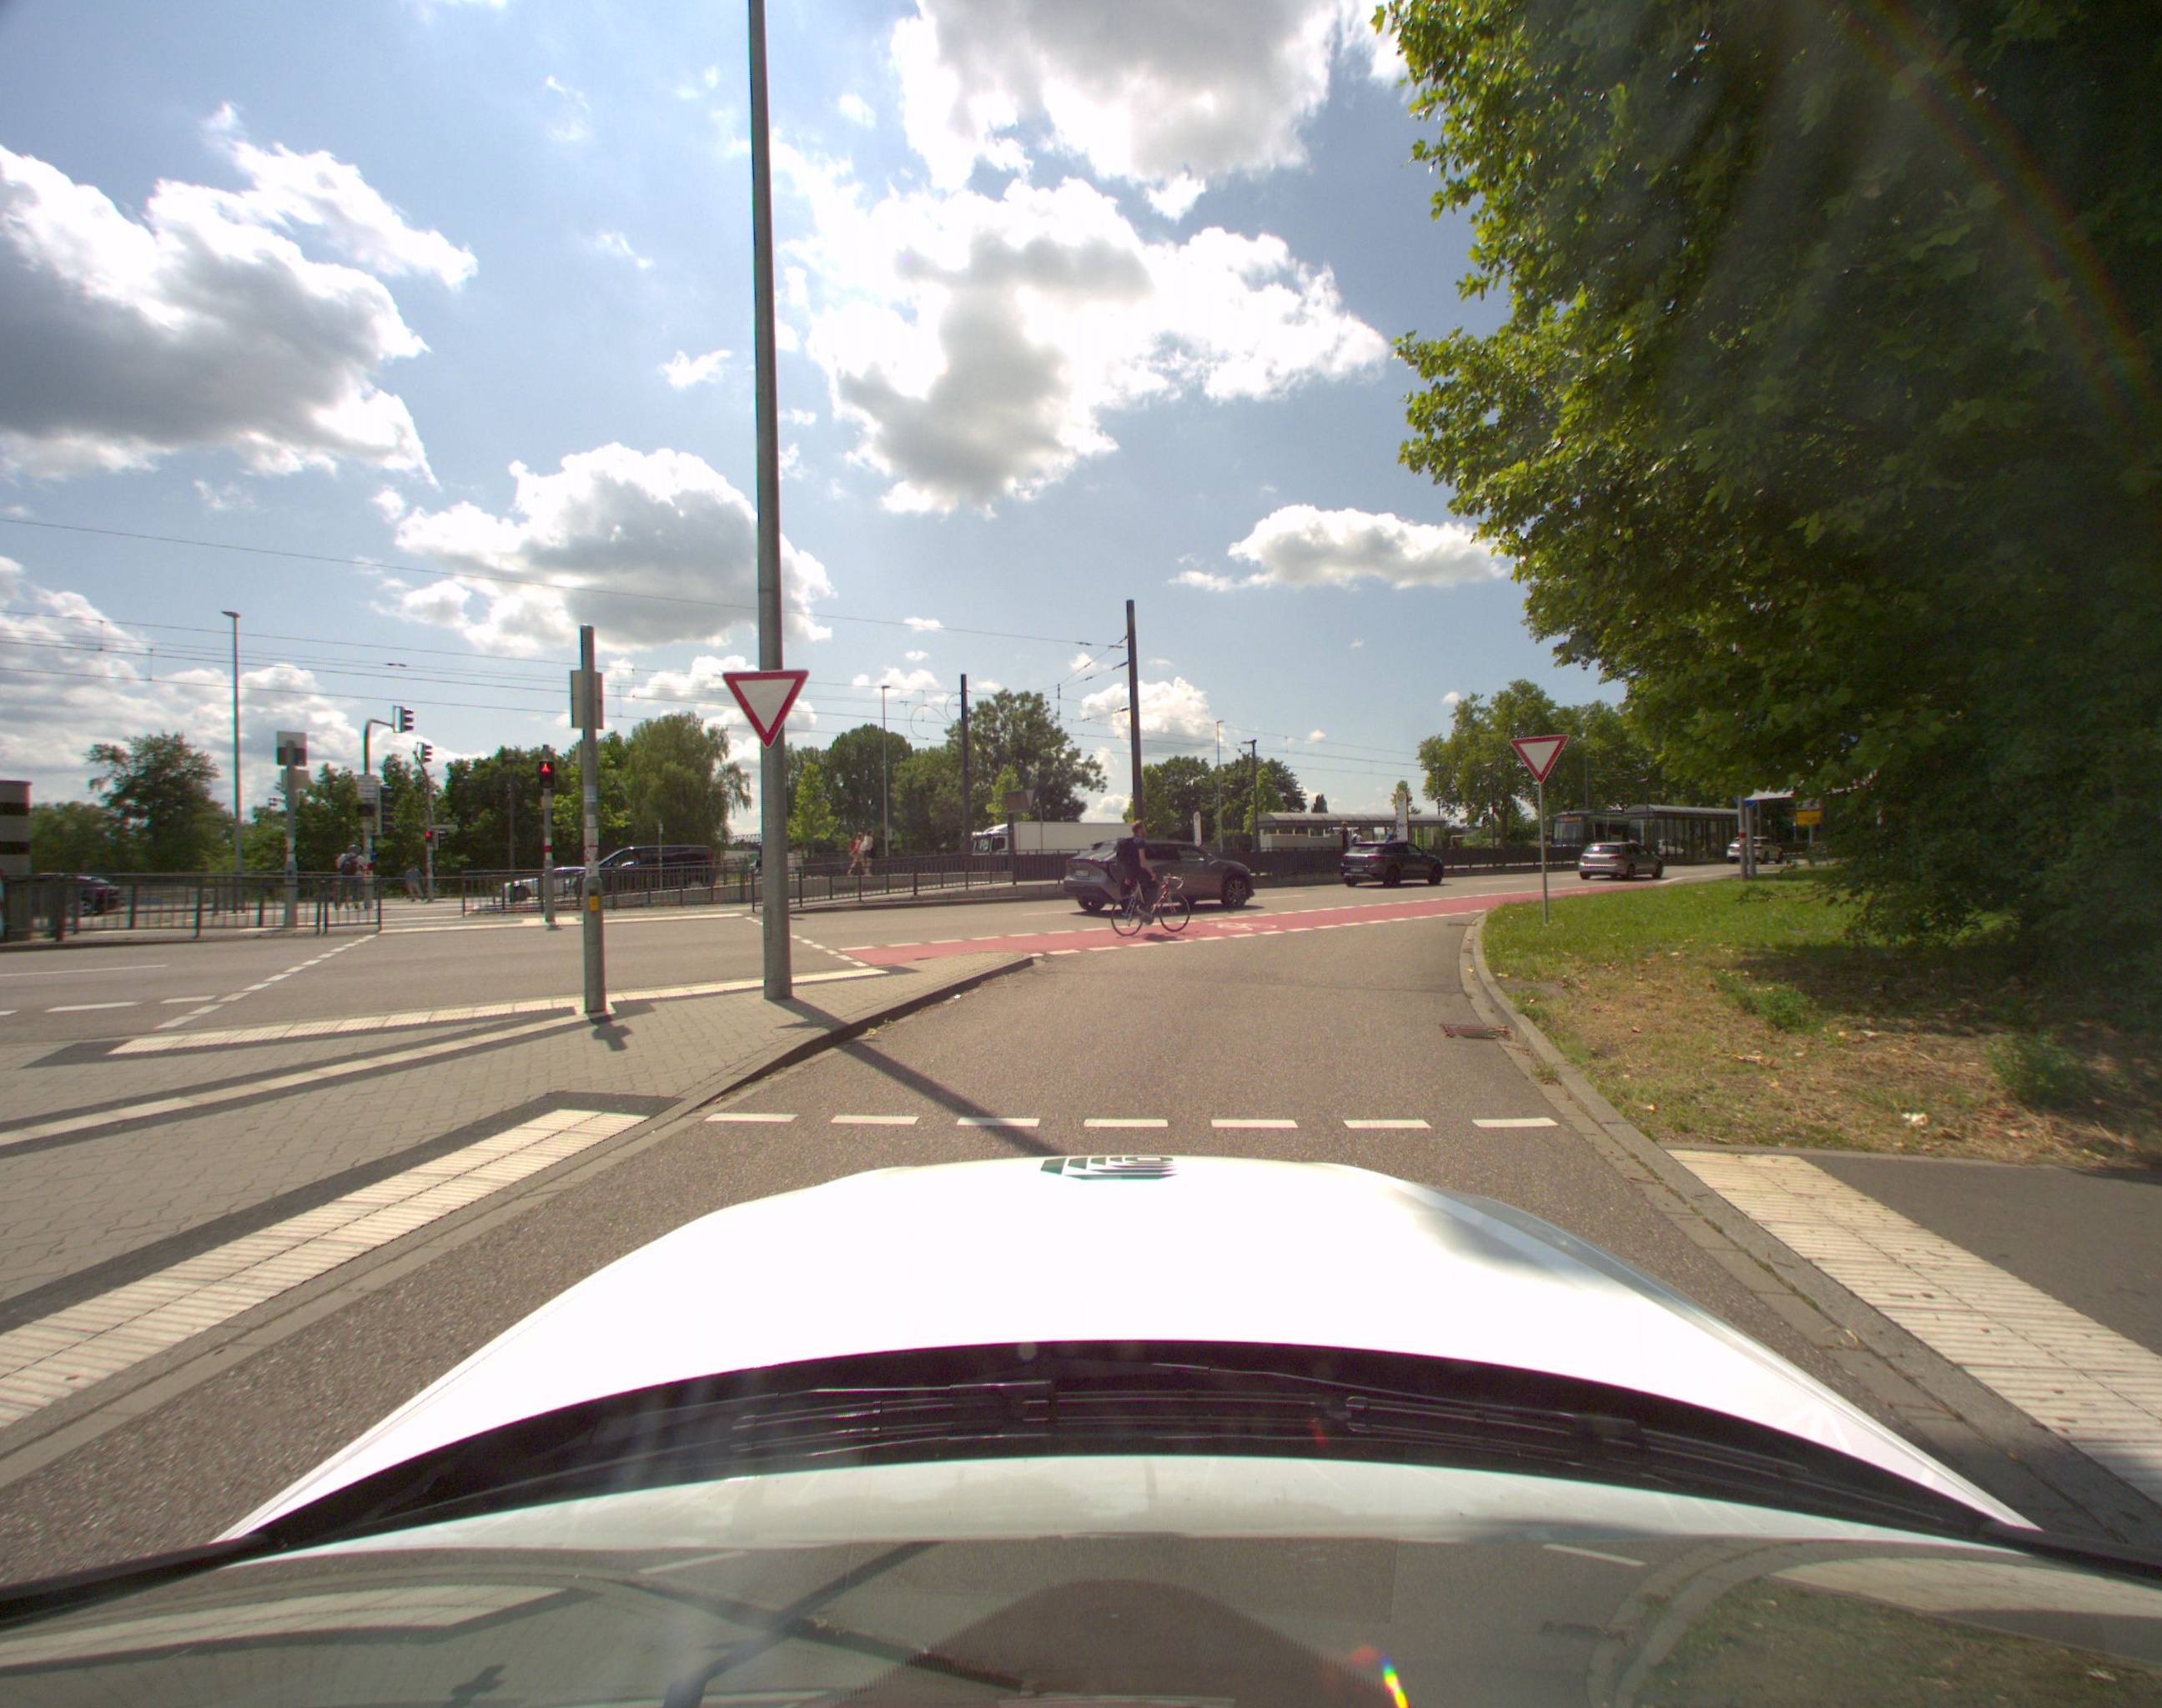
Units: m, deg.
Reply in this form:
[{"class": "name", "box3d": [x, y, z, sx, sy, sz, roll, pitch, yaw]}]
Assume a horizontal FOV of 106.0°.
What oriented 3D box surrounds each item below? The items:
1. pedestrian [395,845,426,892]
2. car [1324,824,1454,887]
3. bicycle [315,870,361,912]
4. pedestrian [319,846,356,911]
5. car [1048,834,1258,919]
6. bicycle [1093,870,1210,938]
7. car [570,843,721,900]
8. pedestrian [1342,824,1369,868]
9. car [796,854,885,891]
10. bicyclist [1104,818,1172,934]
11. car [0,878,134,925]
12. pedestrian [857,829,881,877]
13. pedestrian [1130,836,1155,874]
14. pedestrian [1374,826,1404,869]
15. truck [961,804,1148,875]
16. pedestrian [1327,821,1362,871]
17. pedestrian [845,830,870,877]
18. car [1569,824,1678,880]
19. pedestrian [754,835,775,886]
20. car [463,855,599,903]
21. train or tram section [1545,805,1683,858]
[{"class": "pedestrian", "box3d": [-30.014, 0.631, 36.456, 0.990, 2.013, 0.892, -3, 1, -42]}, {"class": "car", "box3d": [10.540, 0.028, 27.768, 4.380, 1.989, 1.979, -1, 0, -34]}, {"class": "bicycle", "box3d": [-20.789, 1.024, 22.809, 0.623, 1.087, 1.705, -1, 0, -31]}, {"class": "pedestrian", "box3d": [-20.776, 0.663, 22.780, 0.615, 1.769, 0.665, -1, 0, -32]}, {"class": "car", "box3d": [1.681, 0.423, 18.349, 4.538, 1.674, 1.883, -1, 0, -35]}, {"class": "bicycle", "box3d": [1.208, 0.803, 13.648, 2.031, 0.999, 0.615, -1, 1, -34]}, {"class": "car", "box3d": [-15.900, 0.575, 29.806, 4.685, 1.820, 1.979, -2, 0, -34]}, {"class": "pedestrian", "box3d": [11.785, -0.343, 34.943, 0.871, 1.871, 0.676, -2, 1, -3]}, {"class": "car", "box3d": [-12.823, 0.956, 43.523, 4.178, 1.774, 1.865, -2, 0, -35]}, {"class": "bicyclist", "box3d": [0.943, 0.344, 13.468, 0.927, 1.846, 0.605, -1, 0, -34]}, {"class": "car", "box3d": [-34.873, 1.587, 27.271, 3.913, 1.409, 1.650, -2, 1, -41]}, {"class": "pedestrian", "box3d": [-7.864, -0.048, 30.221, 0.680, 1.748, 0.631, -1, 2, -31]}, {"class": "pedestrian", "box3d": [2.969, 0.024, 39.422, 0.933, 1.807, 0.728, -1, 0, -34]}, {"class": "pedestrian", "box3d": [12.680, -0.260, 33.535, 0.933, 1.755, 0.728, -1, 0, -34]}, {"class": "truck", "box3d": [-1.463, -0.967, 51.604, 12.042, 4.104, 2.922, -1, 0, -33]}, {"class": "pedestrian", "box3d": [10.385, -0.317, 32.086, 0.998, 1.939, 0.866, -2, 1, -35]}, {"class": "pedestrian", "box3d": [-8.429, -0.037, 30.667, 0.710, 1.721, 0.595, -2, 1, -31]}, {"class": "car", "box3d": [21.187, -0.120, 31.764, 4.380, 1.989, 1.979, -2, 0, -34]}, {"class": "pedestrian", "box3d": [-10.894, 0.219, 28.030, 0.526, 1.721, 0.723, -2, 1, -29]}, {"class": "car", "box3d": [-23.788, 1.036, 35.340, 4.691, 1.774, 1.863, -2, 1, -40]}, {"class": "train or tram section", "box3d": [35.893, -1.462, 54.469, 14.164, 3.186, 3.013, -1, 0, -37]}]
